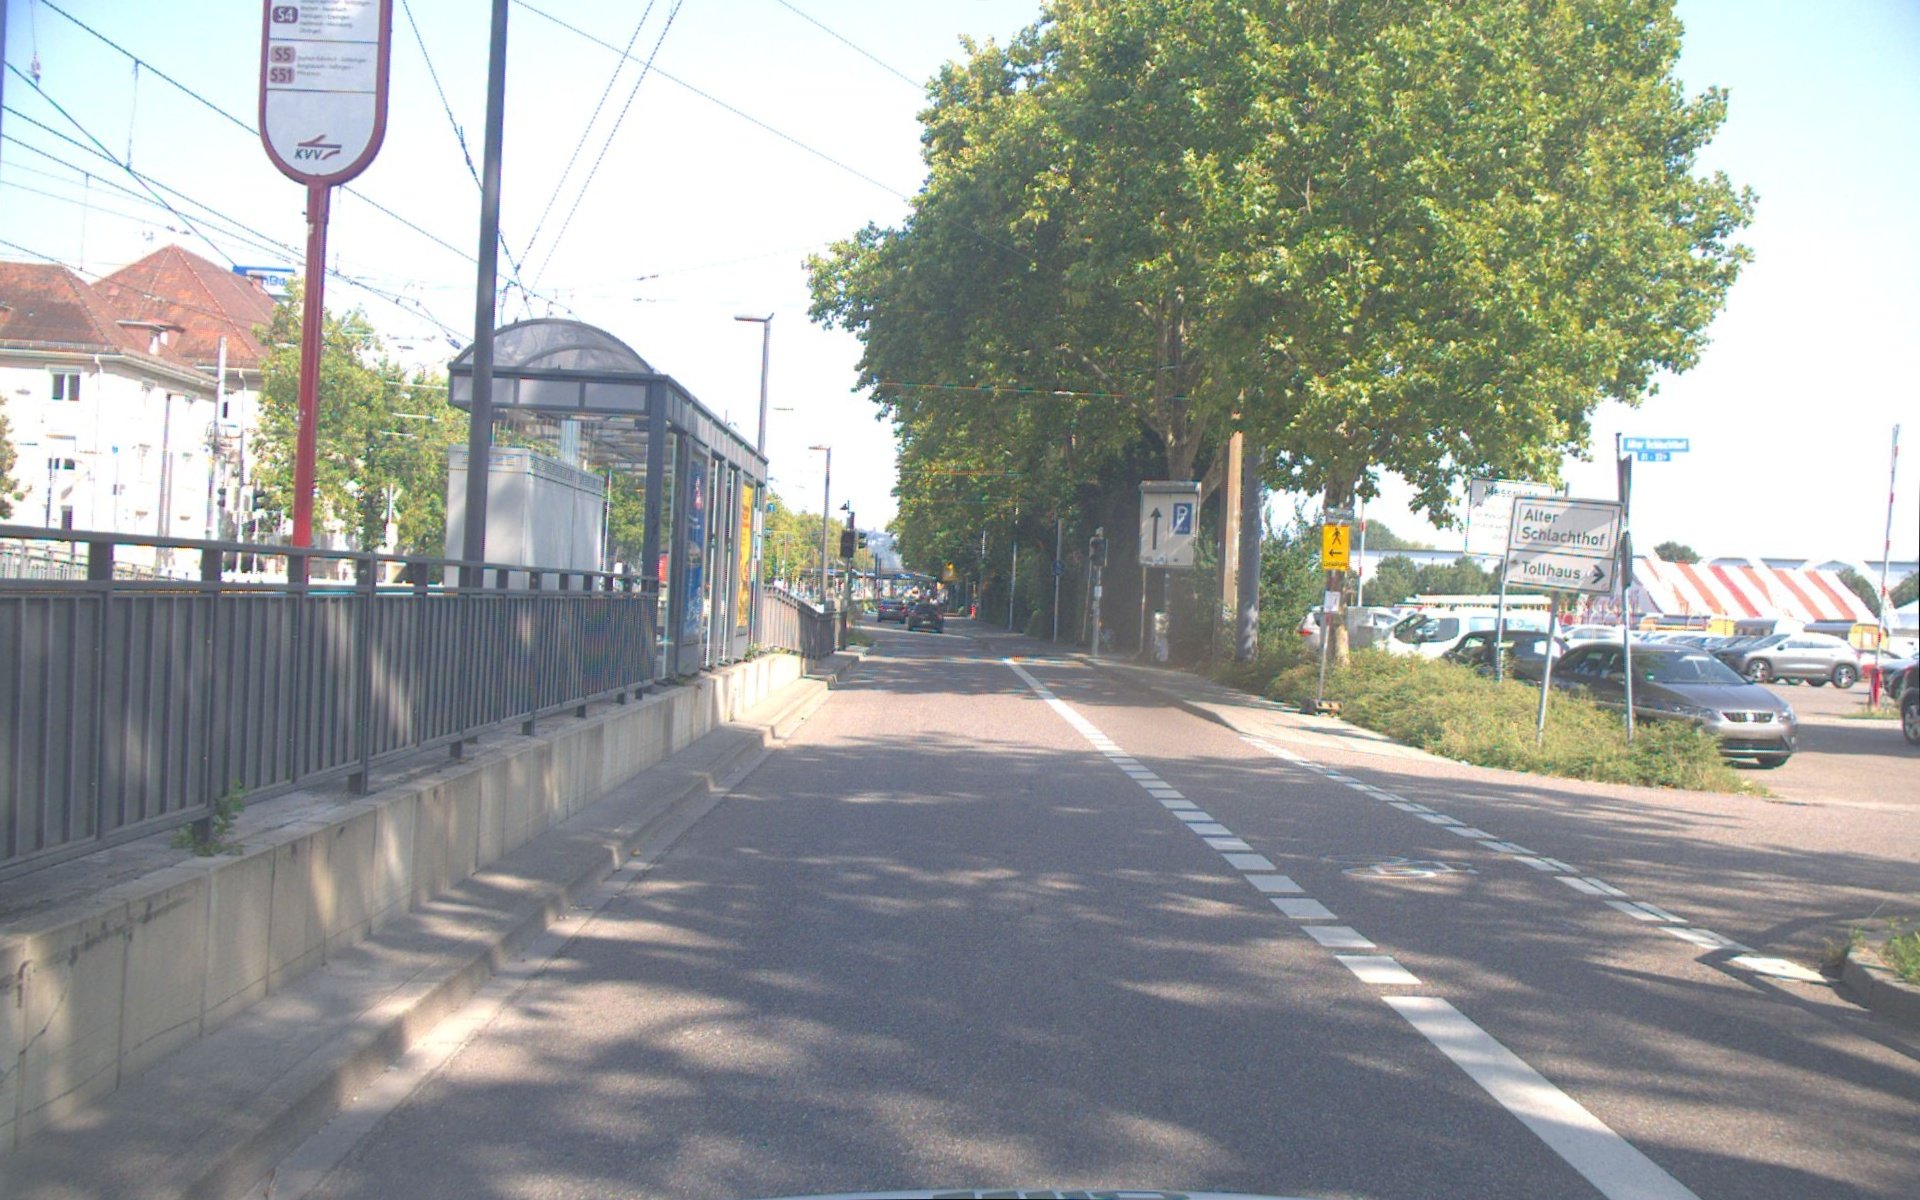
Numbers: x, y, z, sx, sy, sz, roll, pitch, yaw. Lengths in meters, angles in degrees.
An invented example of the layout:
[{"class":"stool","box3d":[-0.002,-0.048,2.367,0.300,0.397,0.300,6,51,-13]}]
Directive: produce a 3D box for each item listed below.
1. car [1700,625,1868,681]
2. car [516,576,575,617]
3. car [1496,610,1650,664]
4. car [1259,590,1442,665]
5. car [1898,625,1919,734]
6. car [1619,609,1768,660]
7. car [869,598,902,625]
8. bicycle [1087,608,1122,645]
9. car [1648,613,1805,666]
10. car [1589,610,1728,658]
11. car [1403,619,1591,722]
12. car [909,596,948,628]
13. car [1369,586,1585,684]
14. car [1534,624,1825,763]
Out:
[{"class":"car","box3d":[25.988,1.647,52.266,4.300,1.489,1.948,3,0,2]},{"class":"car","box3d":[-20.243,-0.158,80.838,1.953,1.870,3.998,2,0,-2]},{"class":"car","box3d":[19.971,1.195,54.017,4.258,1.489,1.946,3,0,-4]},{"class":"car","box3d":[9.460,0.655,40.307,3.907,1.614,1.999,2,0,-3]},{"class":"car","box3d":[15.074,1.210,23.214,1.575,1.603,3.795,1,0,-2]},{"class":"car","box3d":[25.320,1.175,57.181,4.258,1.489,1.946,3,0,-4]},{"class":"car","box3d":[-4.526,0.672,100.621,1.934,1.564,3.998,-1,0,-3]},{"class":"bicycle","box3d":[4.382,0.789,50.393,0.598,1.039,2.400,3,0,-6]},{"class":"car","box3d":[25.439,1.294,54.976,4.258,1.489,1.946,3,0,-4]},{"class":"car","box3d":[25.602,1.243,60.722,4.258,1.489,1.946,3,0,-4]},{"class":"car","box3d":[8.868,1.117,27.647,1.693,1.474,4.116,1,0,-2]},{"class":"car","box3d":[-1.615,0.589,83.128,1.869,1.564,3.998,1,0,-2]},{"class":"car","box3d":[10.921,0.719,35.152,4.018,1.952,1.848,1,0,1]},{"class":"car","box3d":[9.161,1.123,21.520,1.693,1.474,4.549,1,0,-2]}]
